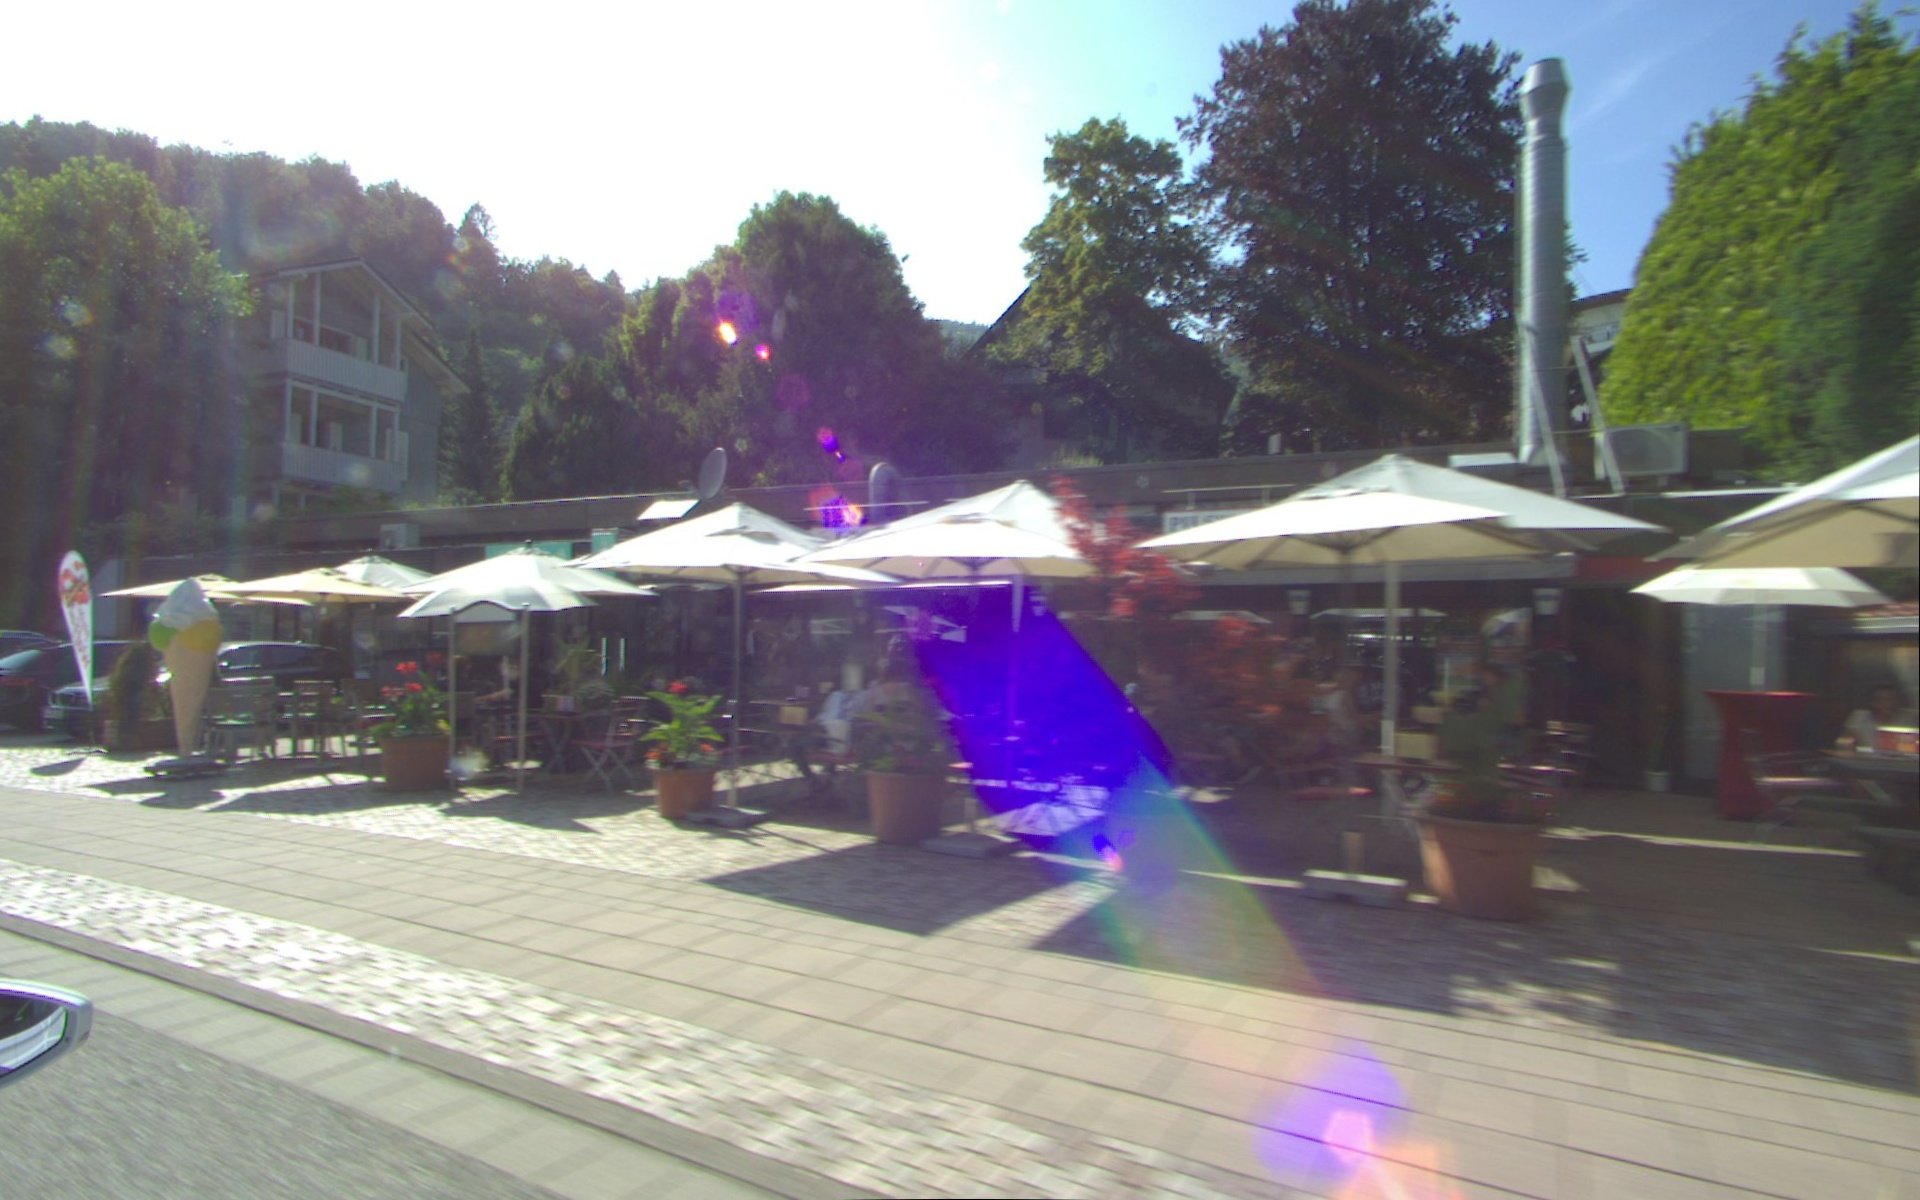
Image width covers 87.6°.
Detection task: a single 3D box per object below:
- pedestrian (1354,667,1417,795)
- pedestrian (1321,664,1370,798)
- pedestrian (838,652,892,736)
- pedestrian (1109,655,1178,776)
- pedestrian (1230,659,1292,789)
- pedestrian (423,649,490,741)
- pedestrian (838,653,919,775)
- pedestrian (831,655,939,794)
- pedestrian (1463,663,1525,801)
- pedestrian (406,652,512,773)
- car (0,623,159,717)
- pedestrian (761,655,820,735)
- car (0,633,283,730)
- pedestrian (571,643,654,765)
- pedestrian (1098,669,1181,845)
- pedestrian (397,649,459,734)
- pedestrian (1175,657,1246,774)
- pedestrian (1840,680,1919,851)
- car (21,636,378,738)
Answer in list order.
[{"bbox_3d":[4.344,1.322,10.222,0.464,1.247,0.389,1,0,-32],"label":"pedestrian"},{"bbox_3d":[3.871,1.301,10.078,0.433,1.281,0.469,0,0,19],"label":"pedestrian"},{"bbox_3d":[-1.552,1.520,16.333,0.677,1.316,0.634,1,-1,-28],"label":"pedestrian"},{"bbox_3d":[2.093,1.299,11.447,0.570,1.321,0.637,0,0,-13],"label":"pedestrian"},{"bbox_3d":[3.222,1.301,10.702,0.598,1.321,0.530,0,0,20],"label":"pedestrian"},{"bbox_3d":[-7.361,1.365,14.637,0.693,1.277,0.805,1,-2,-41],"label":"pedestrian"},{"bbox_3d":[-0.904,1.226,10.982,0.797,1.277,0.700,1,-1,-13],"label":"pedestrian"},{"bbox_3d":[-0.739,1.197,9.914,0.692,1.277,0.806,-1,-2,42],"label":"pedestrian"},{"bbox_3d":[5.248,1.275,9.841,0.501,1.284,0.407,0,0,33],"label":"pedestrian"},{"bbox_3d":[-5.605,1.229,11.229,0.687,1.277,0.812,0,-1,14],"label":"pedestrian"},{"bbox_3d":[-16.933,1.217,17.779,1.719,1.600,3.879,0,-2,23],"label":"car"},{"bbox_3d":[-2.713,1.494,16.011,0.679,1.224,0.696,1,-1,-35],"label":"pedestrian"},{"bbox_3d":[-14.224,1.306,17.126,1.719,1.433,4.113,-1,-3,23],"label":"car"},{"bbox_3d":[-4.126,1.219,11.937,0.797,1.399,0.700,1,-1,-7],"label":"pedestrian"},{"bbox_3d":[1.345,1.167,7.568,0.582,1.261,0.473,-1,-1,7],"label":"pedestrian"},{"bbox_3d":[-8.381,1.418,15.777,0.693,1.277,0.805,1,-2,-41],"label":"pedestrian"},{"bbox_3d":[2.910,1.323,11.669,0.570,1.299,0.637,0,0,-13],"label":"pedestrian"},{"bbox_3d":[7.344,1.277,7.829,0.692,1.247,0.504,0,-1,43],"label":"pedestrian"},{"bbox_3d":[-11.832,1.288,15.964,1.681,1.396,4.266,-1,-3,23],"label":"car"}]
